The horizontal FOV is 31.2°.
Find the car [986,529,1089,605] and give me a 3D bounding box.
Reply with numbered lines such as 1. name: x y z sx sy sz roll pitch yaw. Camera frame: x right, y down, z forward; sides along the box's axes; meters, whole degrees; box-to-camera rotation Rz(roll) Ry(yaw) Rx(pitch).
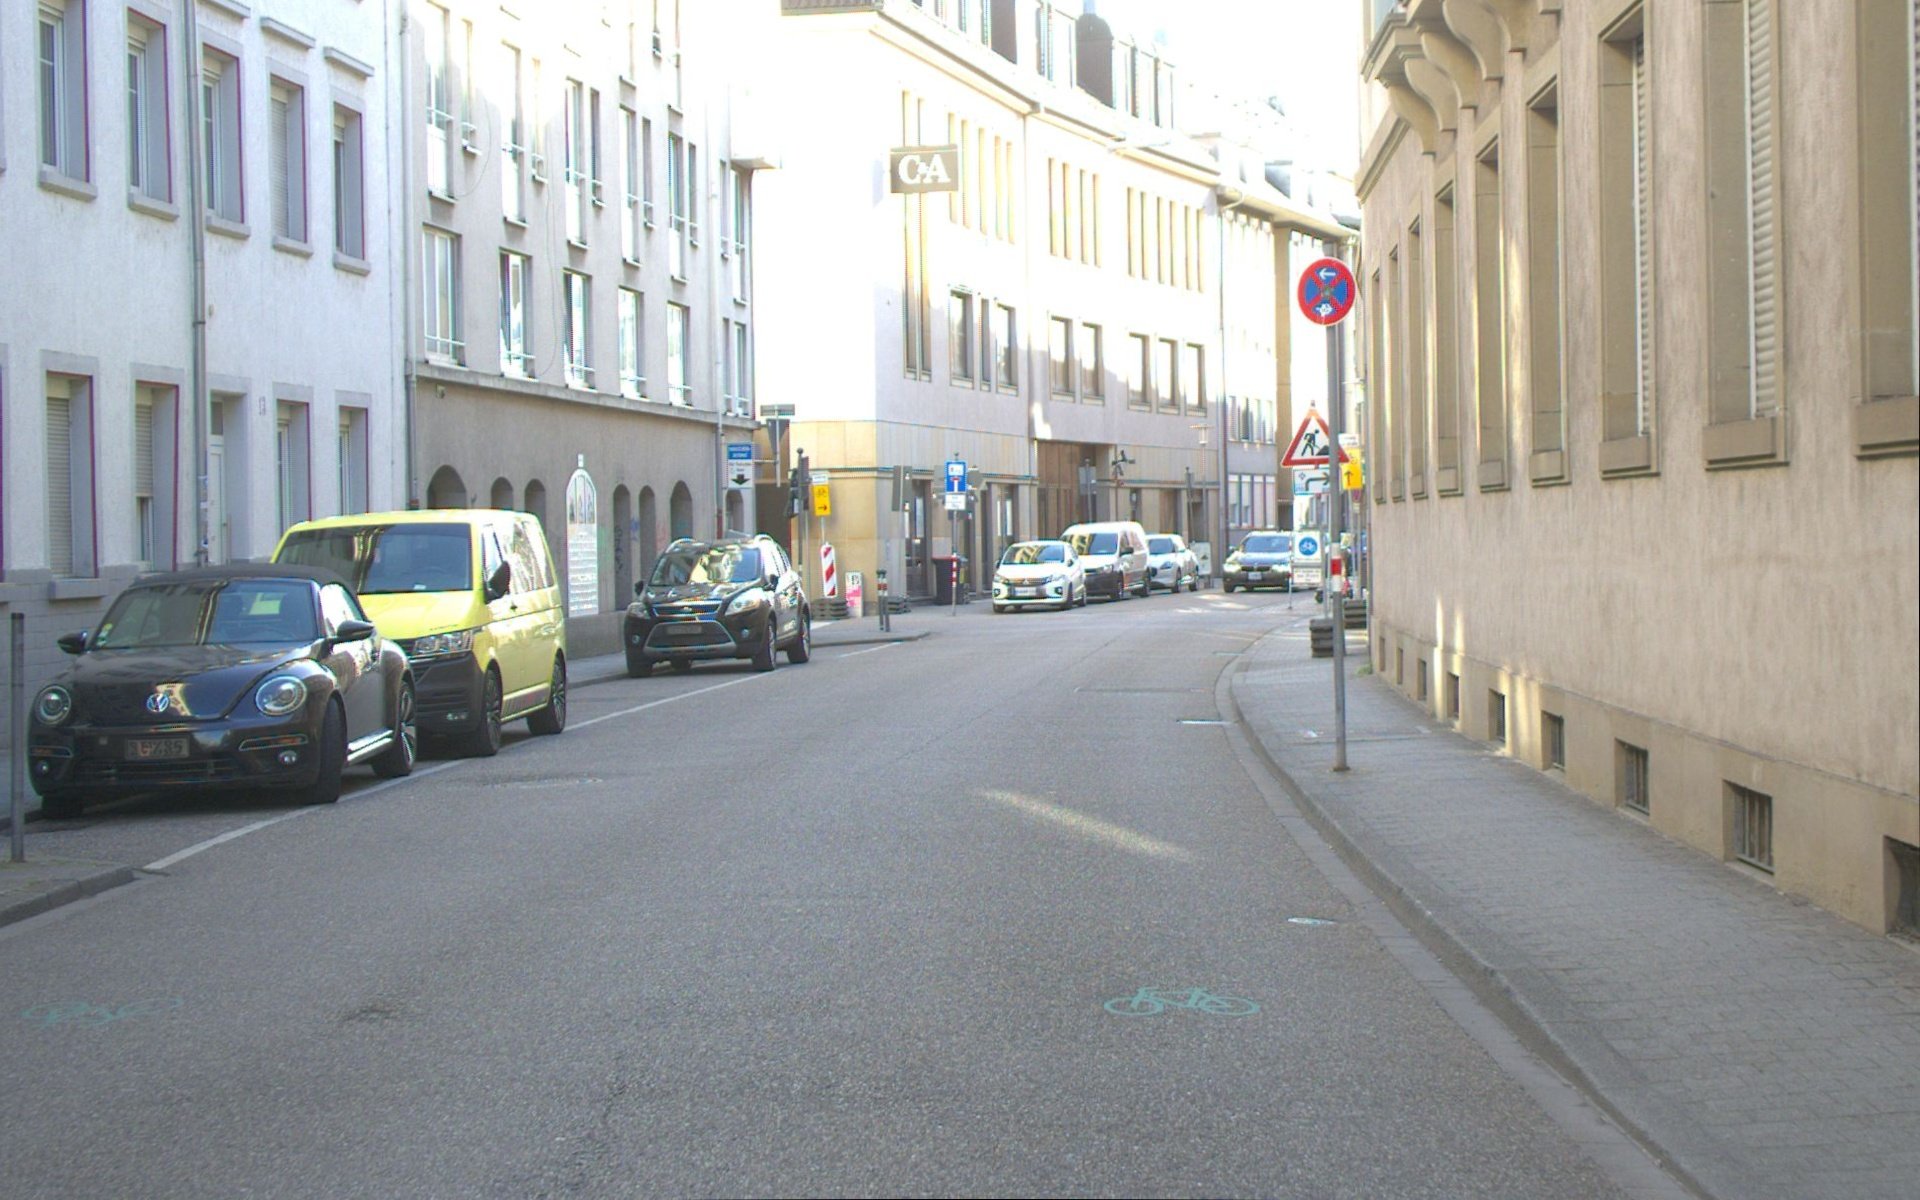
1. car: 1.704 -0.728 74.133 1.671 1.501 3.792 -2 1 9

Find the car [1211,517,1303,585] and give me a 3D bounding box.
1. car: 7.155 -1.191 83.195 1.714 1.572 4.191 -1 1 -2

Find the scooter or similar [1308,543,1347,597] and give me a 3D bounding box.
1. scooter or similar: 7.946 -0.654 74.347 0.771 1.132 0.269 2 1 11

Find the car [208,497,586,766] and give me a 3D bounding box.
1. car: -4.377 0.179 27.531 1.880 1.860 4.864 -3 1 3

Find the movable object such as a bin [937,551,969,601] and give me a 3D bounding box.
1. movable object such as a bin: -0.161 -0.530 75.589 0.609 1.057 0.713 2 1 5

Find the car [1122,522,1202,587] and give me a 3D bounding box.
1. car: 5.058 -1.149 85.799 1.272 1.501 3.399 -2 1 15

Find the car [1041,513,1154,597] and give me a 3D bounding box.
1. car: 3.220 -1.069 79.826 1.671 1.812 4.549 -2 1 14

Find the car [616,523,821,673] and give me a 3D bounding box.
1. car: -3.014 -0.067 43.811 1.740 1.705 4.189 -3 1 7

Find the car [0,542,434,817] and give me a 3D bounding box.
1. car: -4.663 0.428 21.975 1.819 1.481 4.077 -3 1 1
